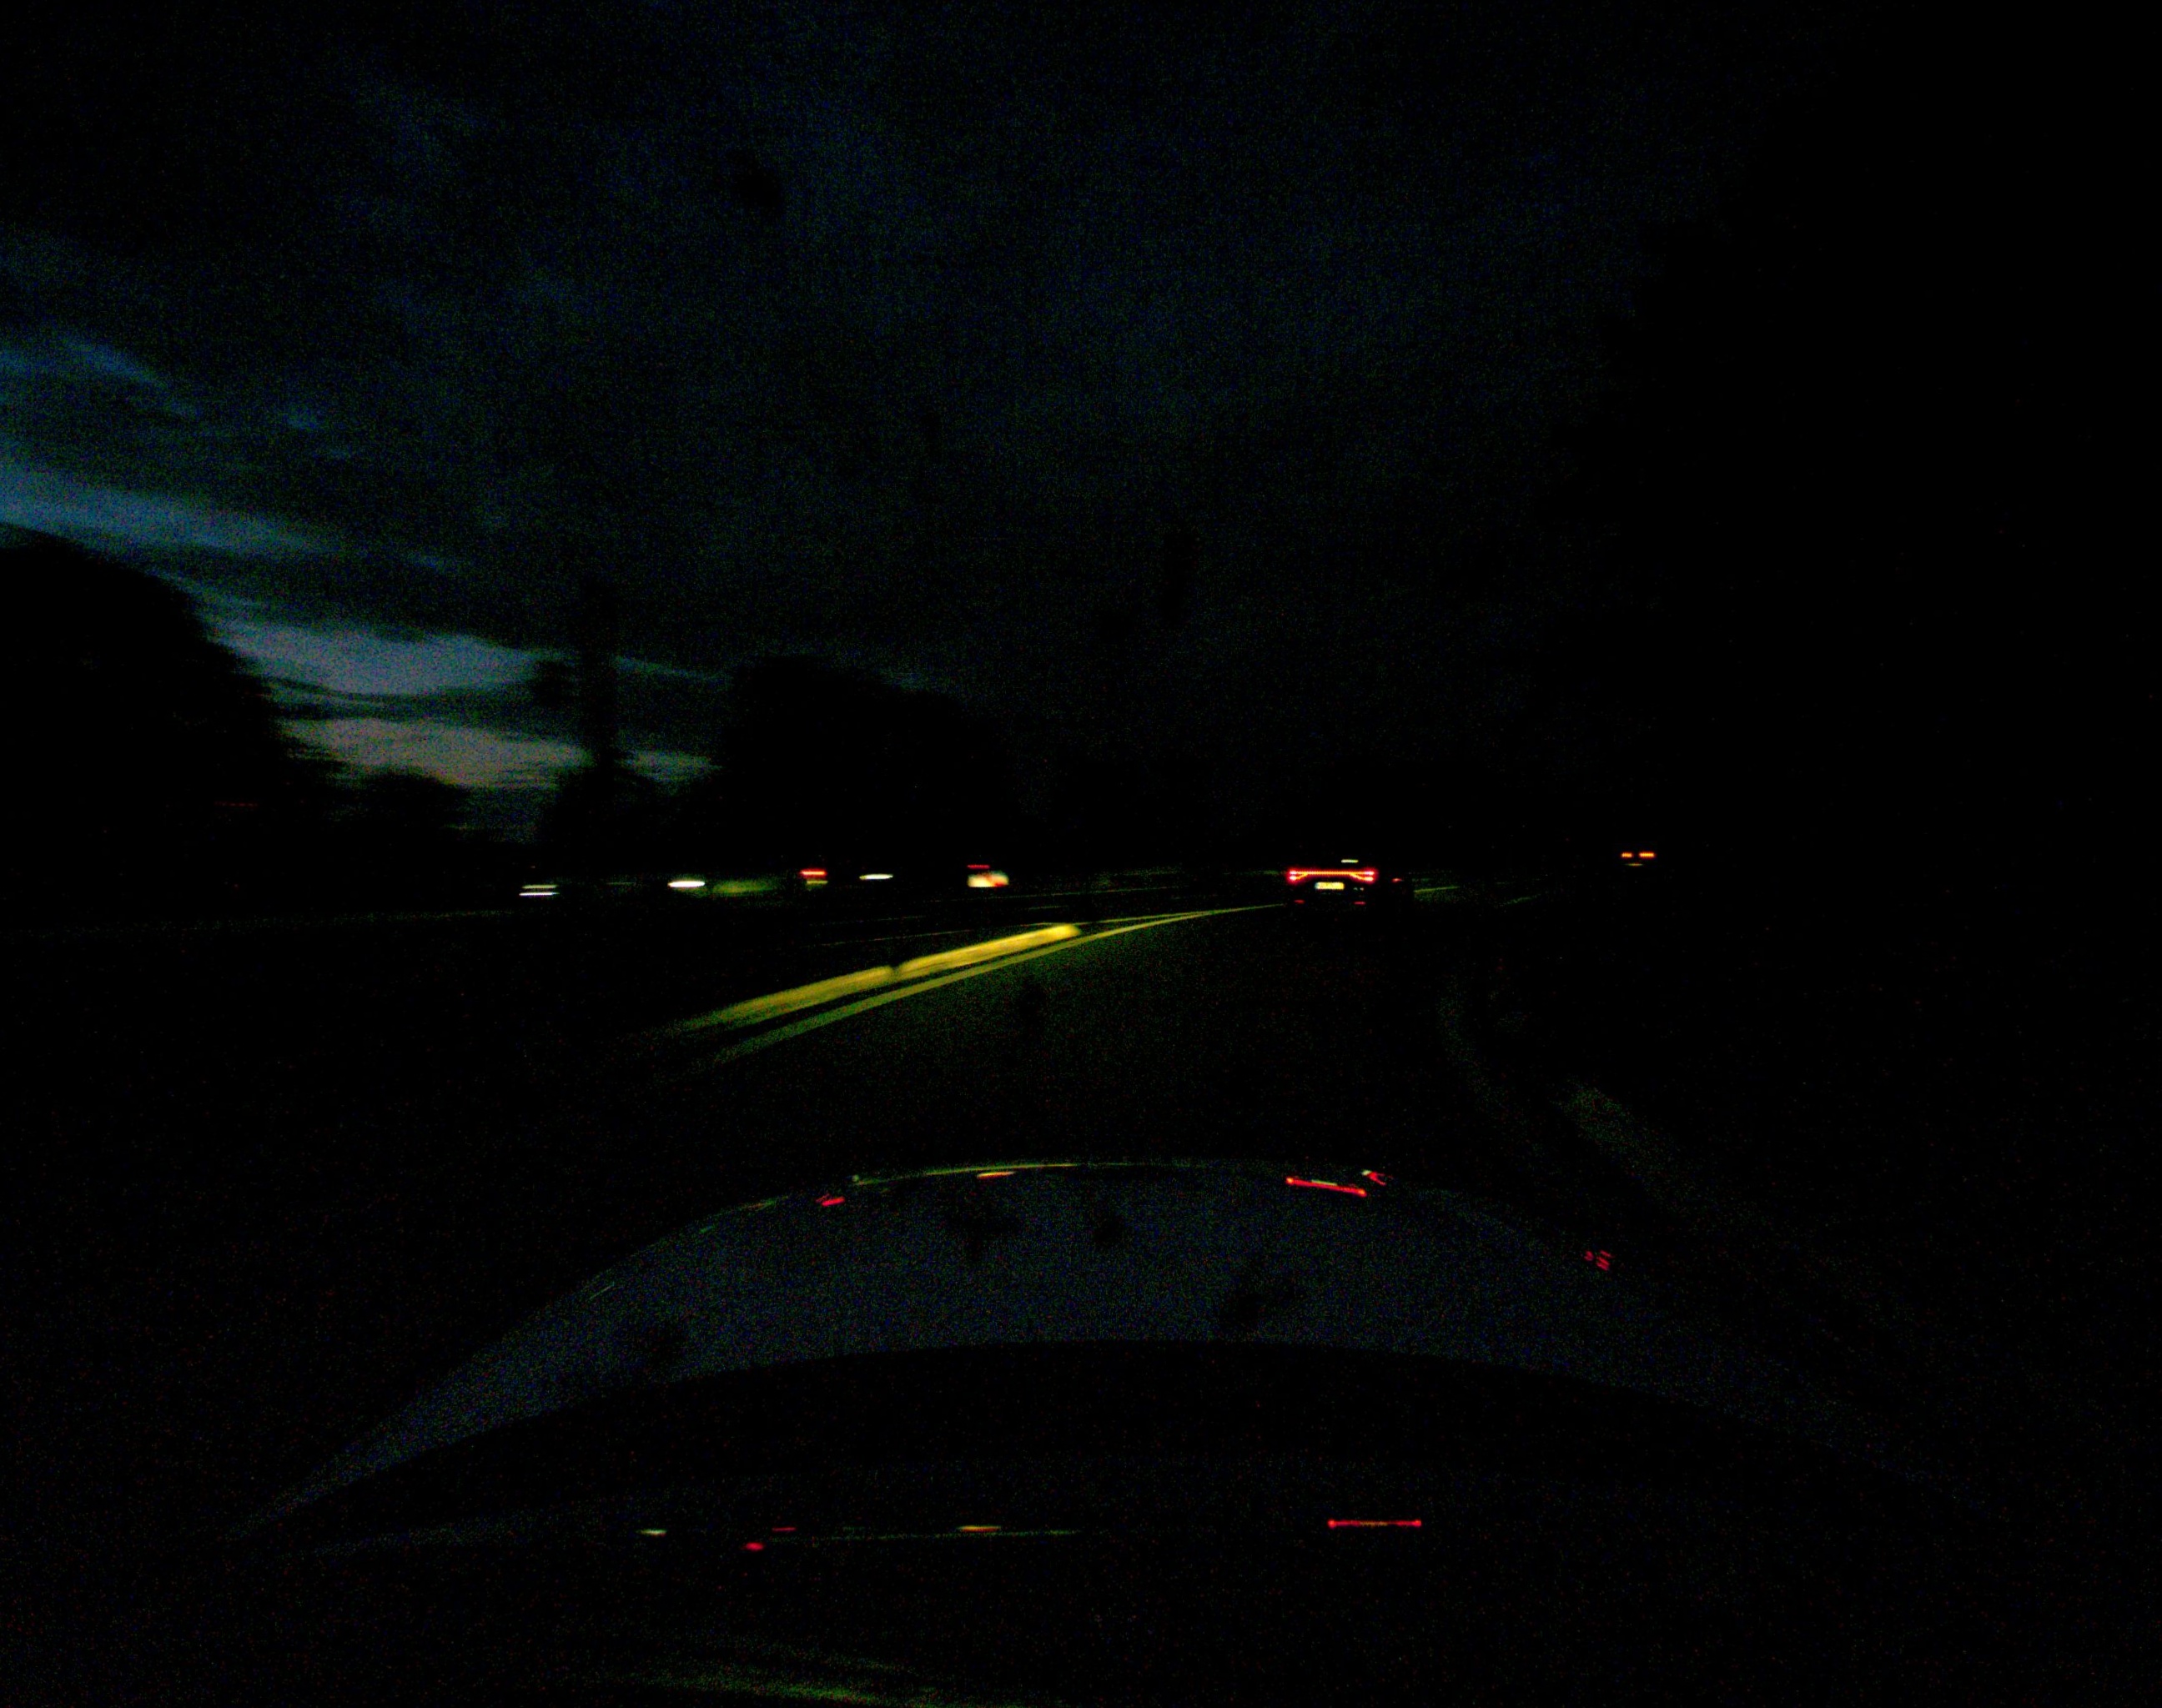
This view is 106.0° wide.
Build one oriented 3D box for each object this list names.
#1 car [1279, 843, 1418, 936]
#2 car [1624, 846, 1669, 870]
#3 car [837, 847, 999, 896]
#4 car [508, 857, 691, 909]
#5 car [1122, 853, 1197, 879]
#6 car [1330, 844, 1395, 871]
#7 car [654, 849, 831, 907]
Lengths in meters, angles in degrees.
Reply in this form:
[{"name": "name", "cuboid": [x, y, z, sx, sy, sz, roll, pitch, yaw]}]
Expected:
[{"name": "car", "cuboid": [5.685, 0.596, 16.901, 1.883, 1.619, 4.584, 1, 1, 29]}, {"name": "car", "cuboid": [35.989, 0.241, 51.786, 1.736, 1.453, 4.460, 0, 0, 43]}, {"name": "car", "cuboid": [-5.322, 0.546, 27.159, 1.975, 1.453, 5.077, -2, -1, 44]}, {"name": "car", "cuboid": [-15.664, 0.888, 26.692, 1.975, 1.453, 4.763, -2, 0, 42]}, {"name": "car", "cuboid": [4.756, 0.684, 49.025, 1.975, 1.453, 4.763, -2, -1, 43]}, {"name": "car", "cuboid": [17.744, 0.213, 51.201, 1.975, 1.570, 4.851, -2, -1, 45]}, {"name": "car", "cuboid": [-10.818, 0.739, 26.312, 1.974, 1.682, 4.903, -2, -2, 42]}]
